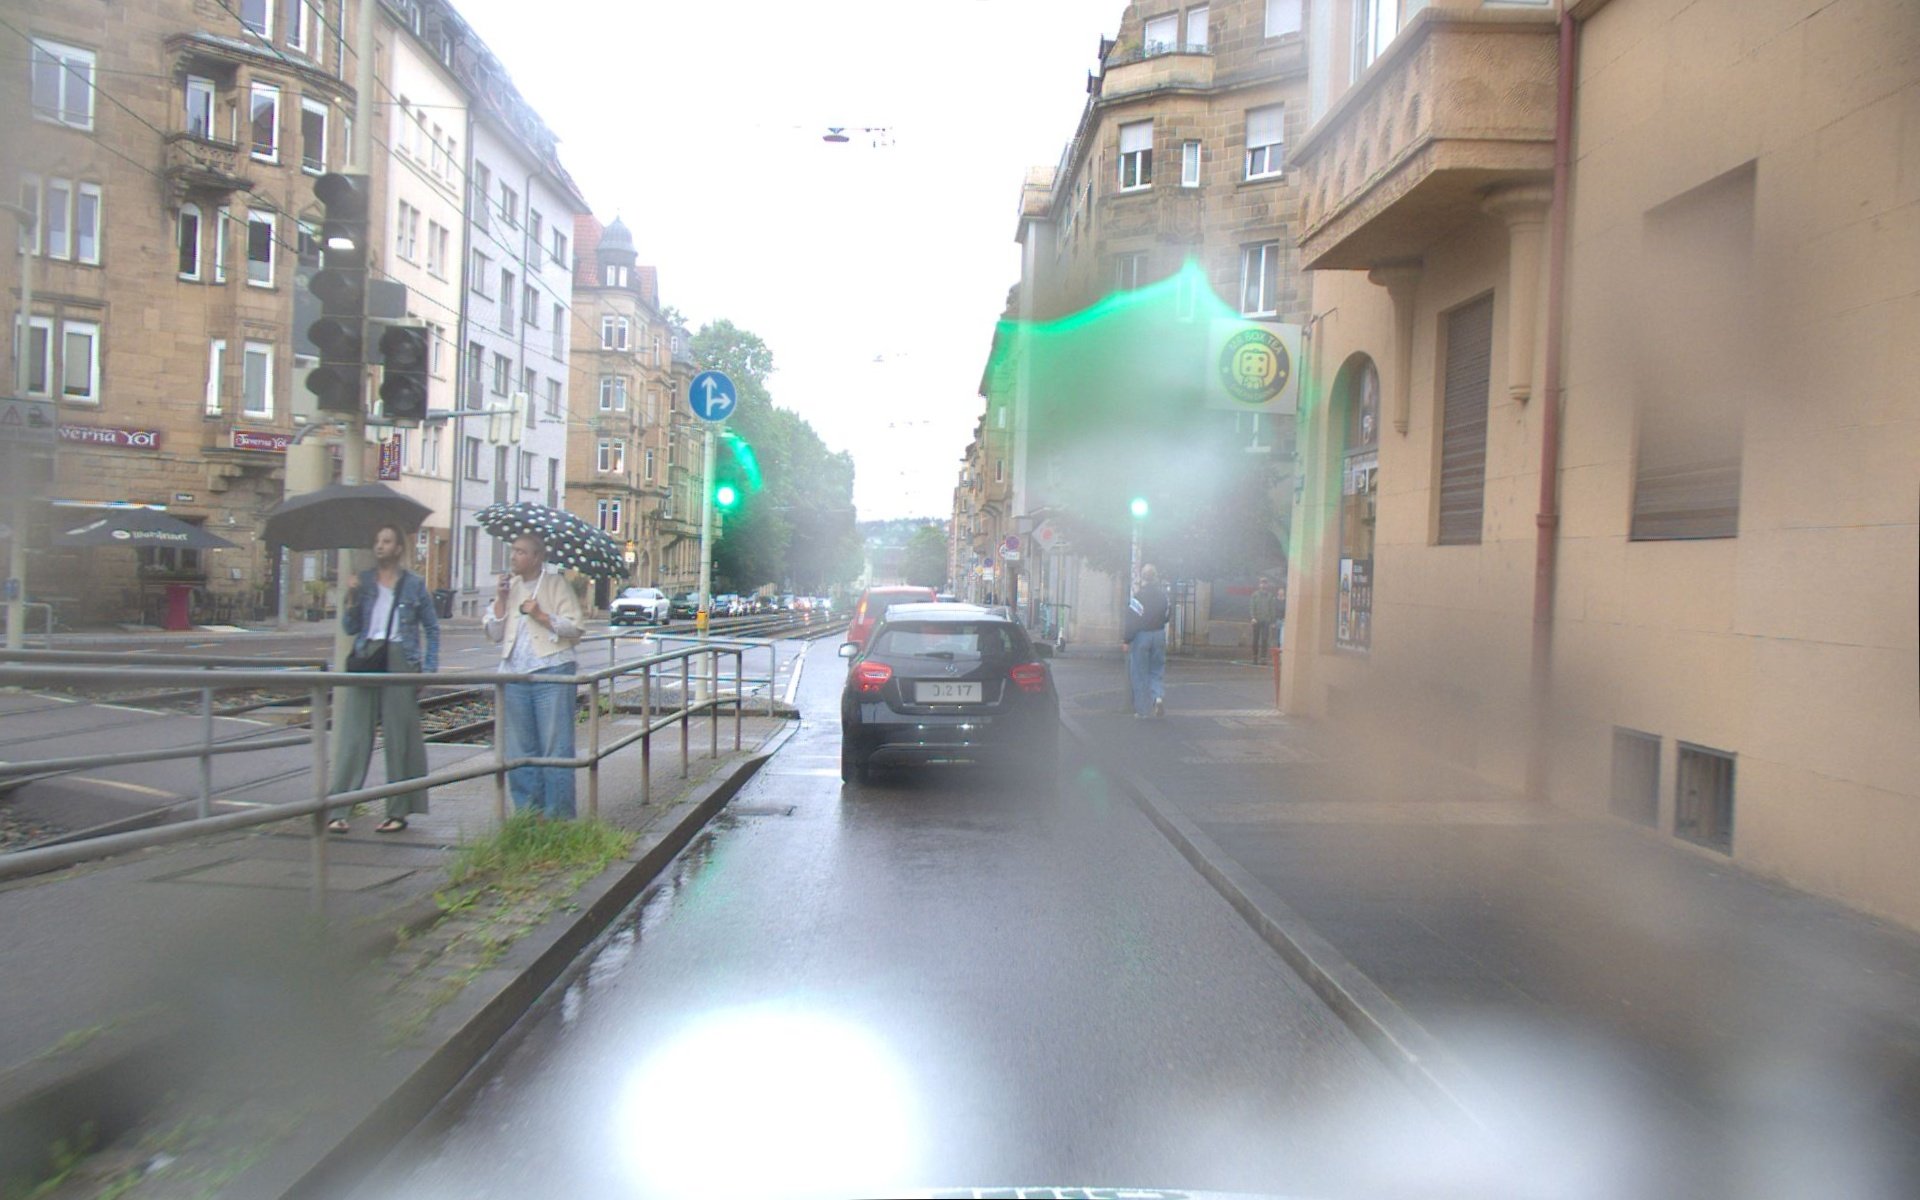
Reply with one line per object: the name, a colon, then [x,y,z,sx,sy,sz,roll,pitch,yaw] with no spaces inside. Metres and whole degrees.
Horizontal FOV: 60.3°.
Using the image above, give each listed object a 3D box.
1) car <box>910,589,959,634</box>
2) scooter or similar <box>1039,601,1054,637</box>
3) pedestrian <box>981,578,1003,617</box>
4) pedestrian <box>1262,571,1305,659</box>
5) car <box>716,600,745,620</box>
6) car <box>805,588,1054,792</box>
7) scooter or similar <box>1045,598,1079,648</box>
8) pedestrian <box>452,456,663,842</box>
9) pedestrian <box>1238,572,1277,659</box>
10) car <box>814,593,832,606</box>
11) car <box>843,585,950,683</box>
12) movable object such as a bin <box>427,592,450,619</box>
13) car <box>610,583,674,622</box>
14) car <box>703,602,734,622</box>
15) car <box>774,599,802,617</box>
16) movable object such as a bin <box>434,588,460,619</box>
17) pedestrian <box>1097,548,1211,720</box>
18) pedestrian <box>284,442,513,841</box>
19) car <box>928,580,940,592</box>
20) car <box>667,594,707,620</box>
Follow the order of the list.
car: [-0.954,0.421,61.626,1.729,1.586,4.744,0,0,-1]
scooter or similar: [2.956,0.643,56.779,0.387,1.237,1.106,1,0,-3]
pedestrian: [1.491,-0.108,77.023,0.926,1.800,1.014,1,0,-3]
pedestrian: [6.851,0.313,35.093,0.668,1.820,0.901,0,0,-5]
car: [-16.620,0.691,119.865,1.537,1.438,3.481,0,0,1]
car: [-0.205,0.672,14.410,1.828,1.477,4.000,2,0,1]
scooter or similar: [2.551,0.574,41.432,0.625,1.231,1.551,0,0,-5]
pedestrian: [-2.255,0.266,9.390,0.907,2.049,0.947,2,0,-1]
pedestrian: [6.276,0.324,34.954,0.582,1.820,0.890,0,0,-5]
car: [-15.581,-0.086,188.378,1.660,1.413,3.481,0,0,1]
car: [-1.108,0.523,27.797,1.617,1.477,3.997,2,0,-3]
movable object such as a bin: [-18.878,0.210,59.877,0.582,0.927,0.560,5,0,-2]
car: [-14.272,0.132,74.511,1.953,1.656,5.251,0,0,-1]
car: [-16.705,0.798,114.477,1.537,1.339,3.481,0,0,1]
car: [-14.011,0.664,135.066,1.908,1.421,4.273,0,0,-1]
movable object such as a bin: [-18.806,0.130,60.636,0.699,1.092,0.687,5,0,-2]
pedestrian: [2.208,0.379,18.891,0.887,1.872,0.962,-2,0,-21]
pedestrian: [-3.053,0.218,9.093,0.879,2.049,0.947,2,0,-1]
car: [-3.356,-1.799,213.703,1.581,1.340,3.999,2,0,-1]
car: [-16.385,0.418,99.479,1.687,1.568,3.934,0,0,1]
